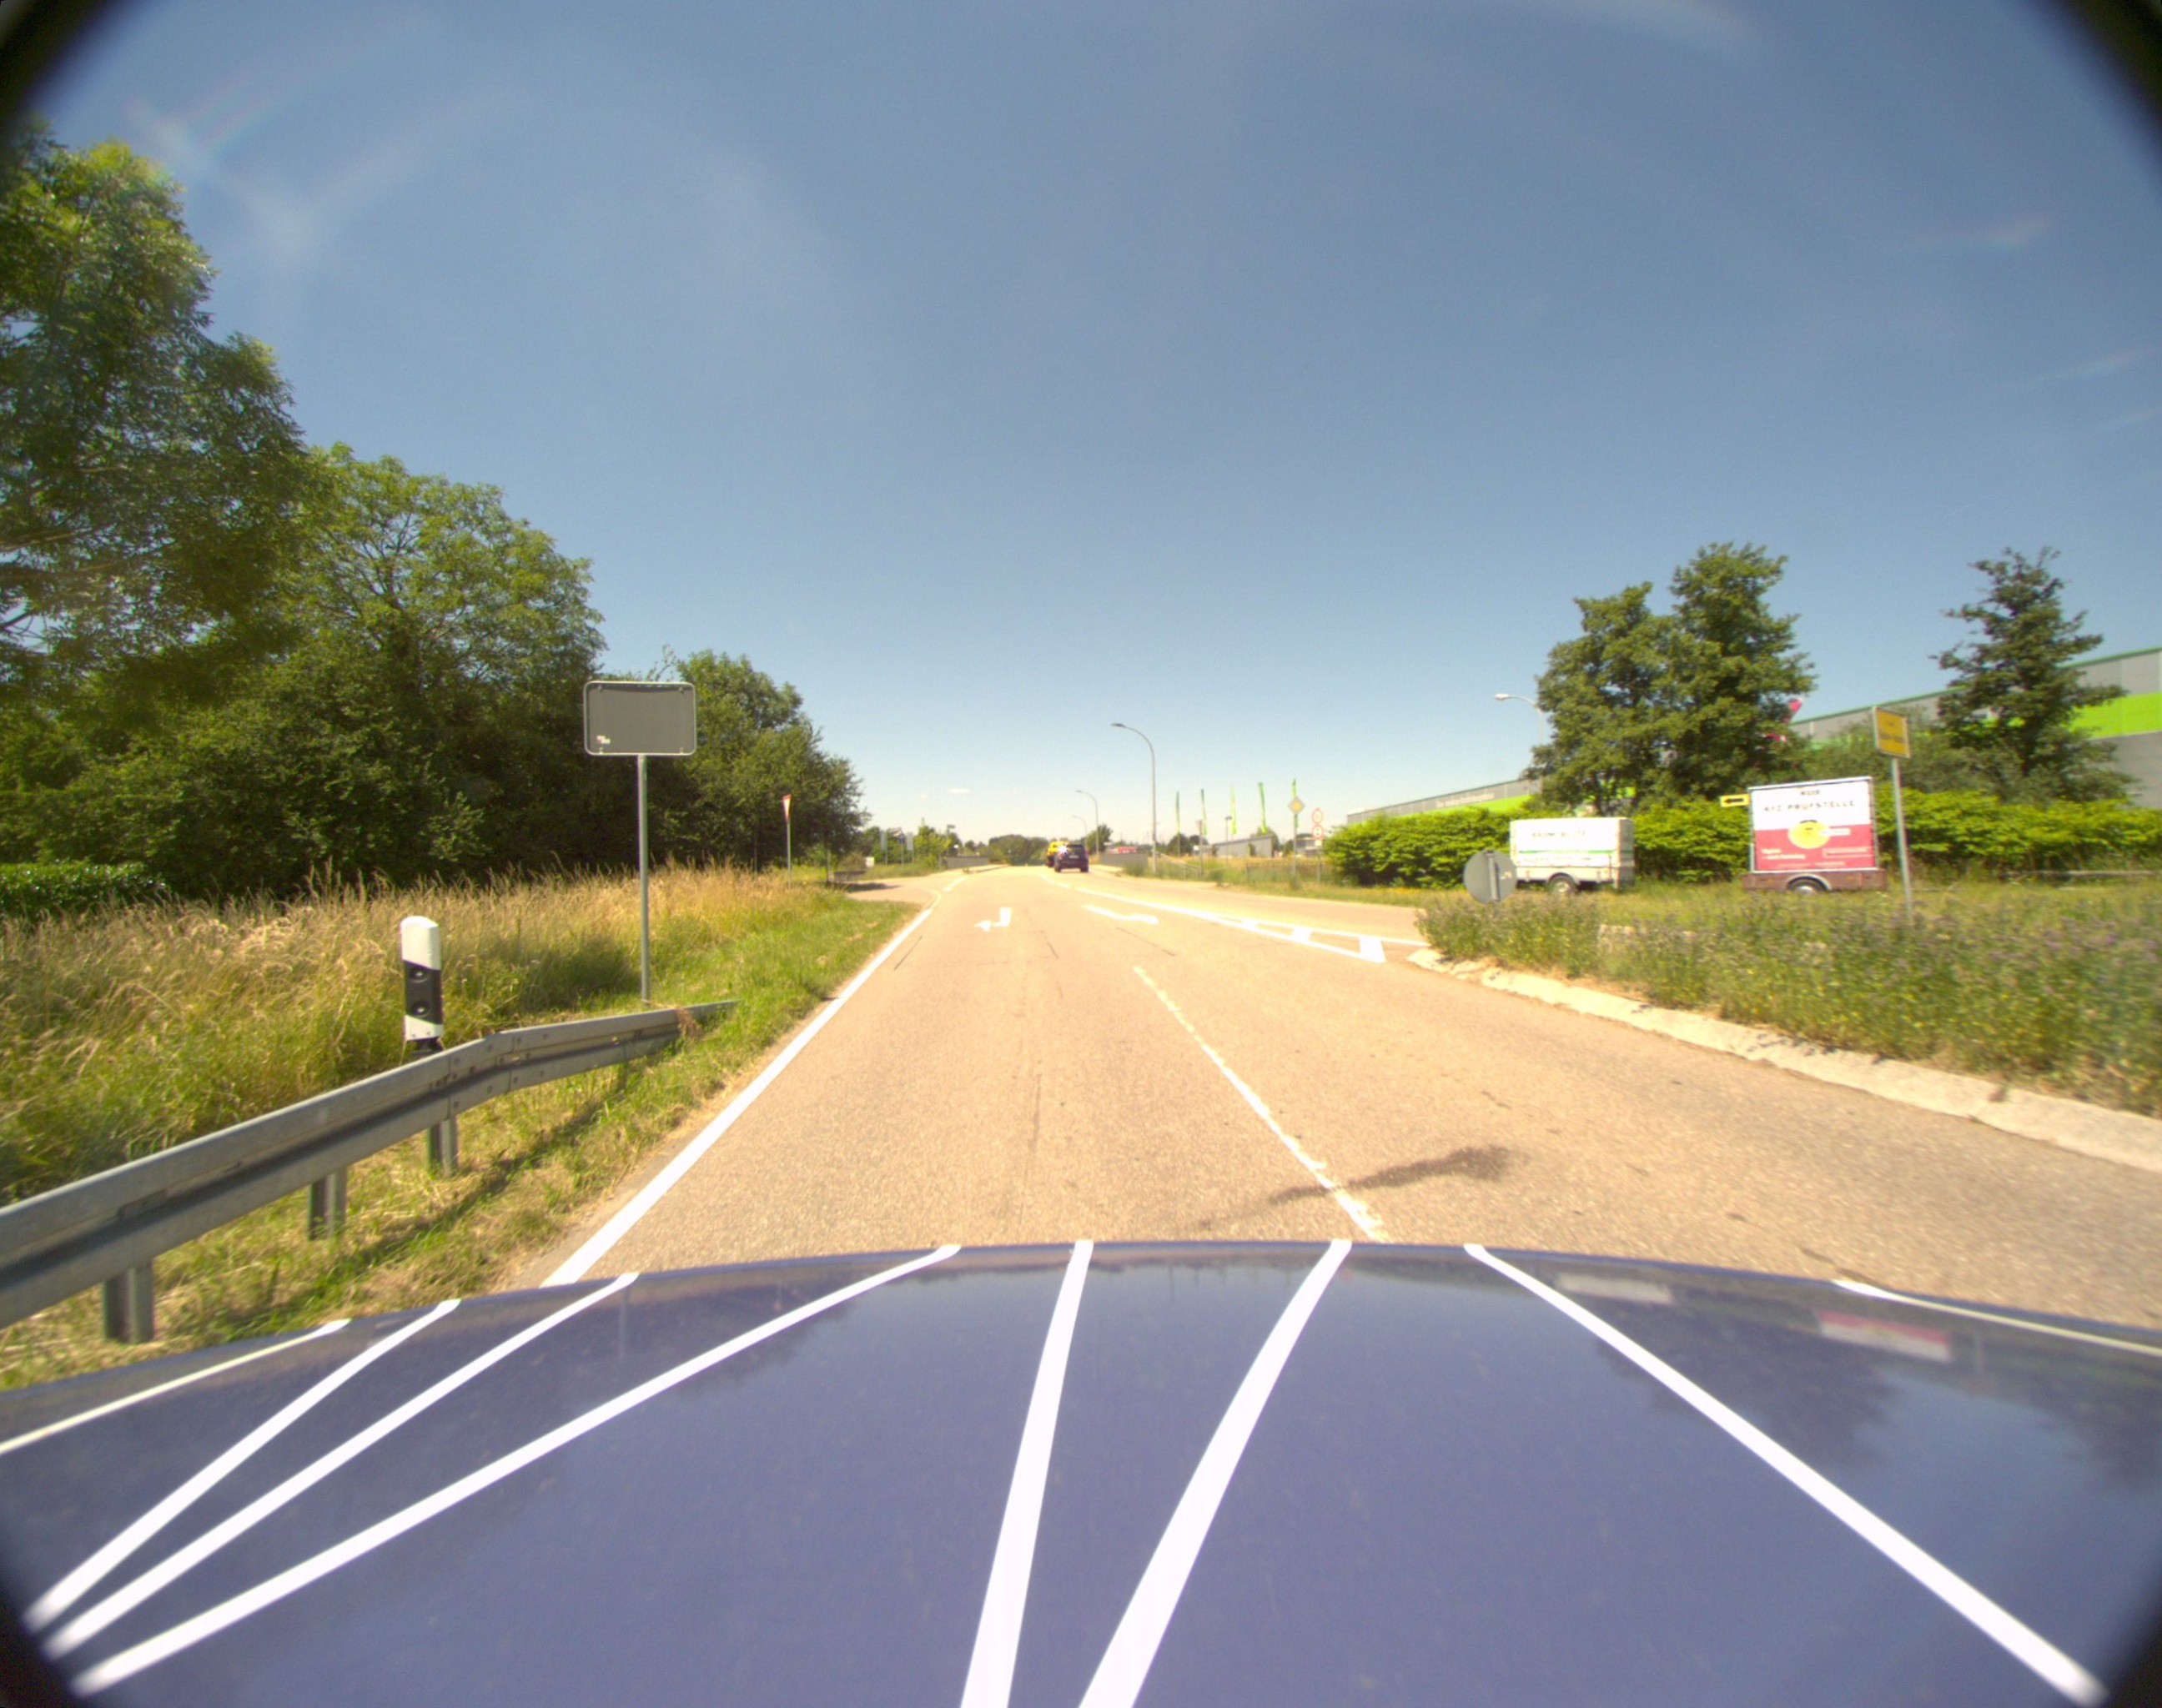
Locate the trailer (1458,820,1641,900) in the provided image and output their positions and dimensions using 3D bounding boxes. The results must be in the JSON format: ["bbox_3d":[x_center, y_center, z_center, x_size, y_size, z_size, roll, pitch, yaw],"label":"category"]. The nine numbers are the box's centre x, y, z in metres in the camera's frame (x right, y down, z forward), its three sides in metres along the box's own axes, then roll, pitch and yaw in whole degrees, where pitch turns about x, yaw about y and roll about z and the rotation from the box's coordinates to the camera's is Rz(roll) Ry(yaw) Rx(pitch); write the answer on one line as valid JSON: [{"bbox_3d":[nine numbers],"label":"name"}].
[{"bbox_3d":[12.994,0.130,21.232,1.860,2.002,3.949,-3,1,-40],"label":"trailer"}]

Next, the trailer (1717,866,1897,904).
[{"bbox_3d":[16.645,0.672,17.490,1.568,0.734,2.844,-3,1,-40],"label":"trailer"}]

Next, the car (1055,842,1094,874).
[{"bbox_3d":[-0.413,0.169,43.142,1.907,1.693,3.997,0,2,-4],"label":"car"}]

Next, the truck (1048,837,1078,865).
[{"bbox_3d":[-1.683,-0.285,67.612,2.317,2.324,9.047,1,1,-3],"label":"truck"}]
